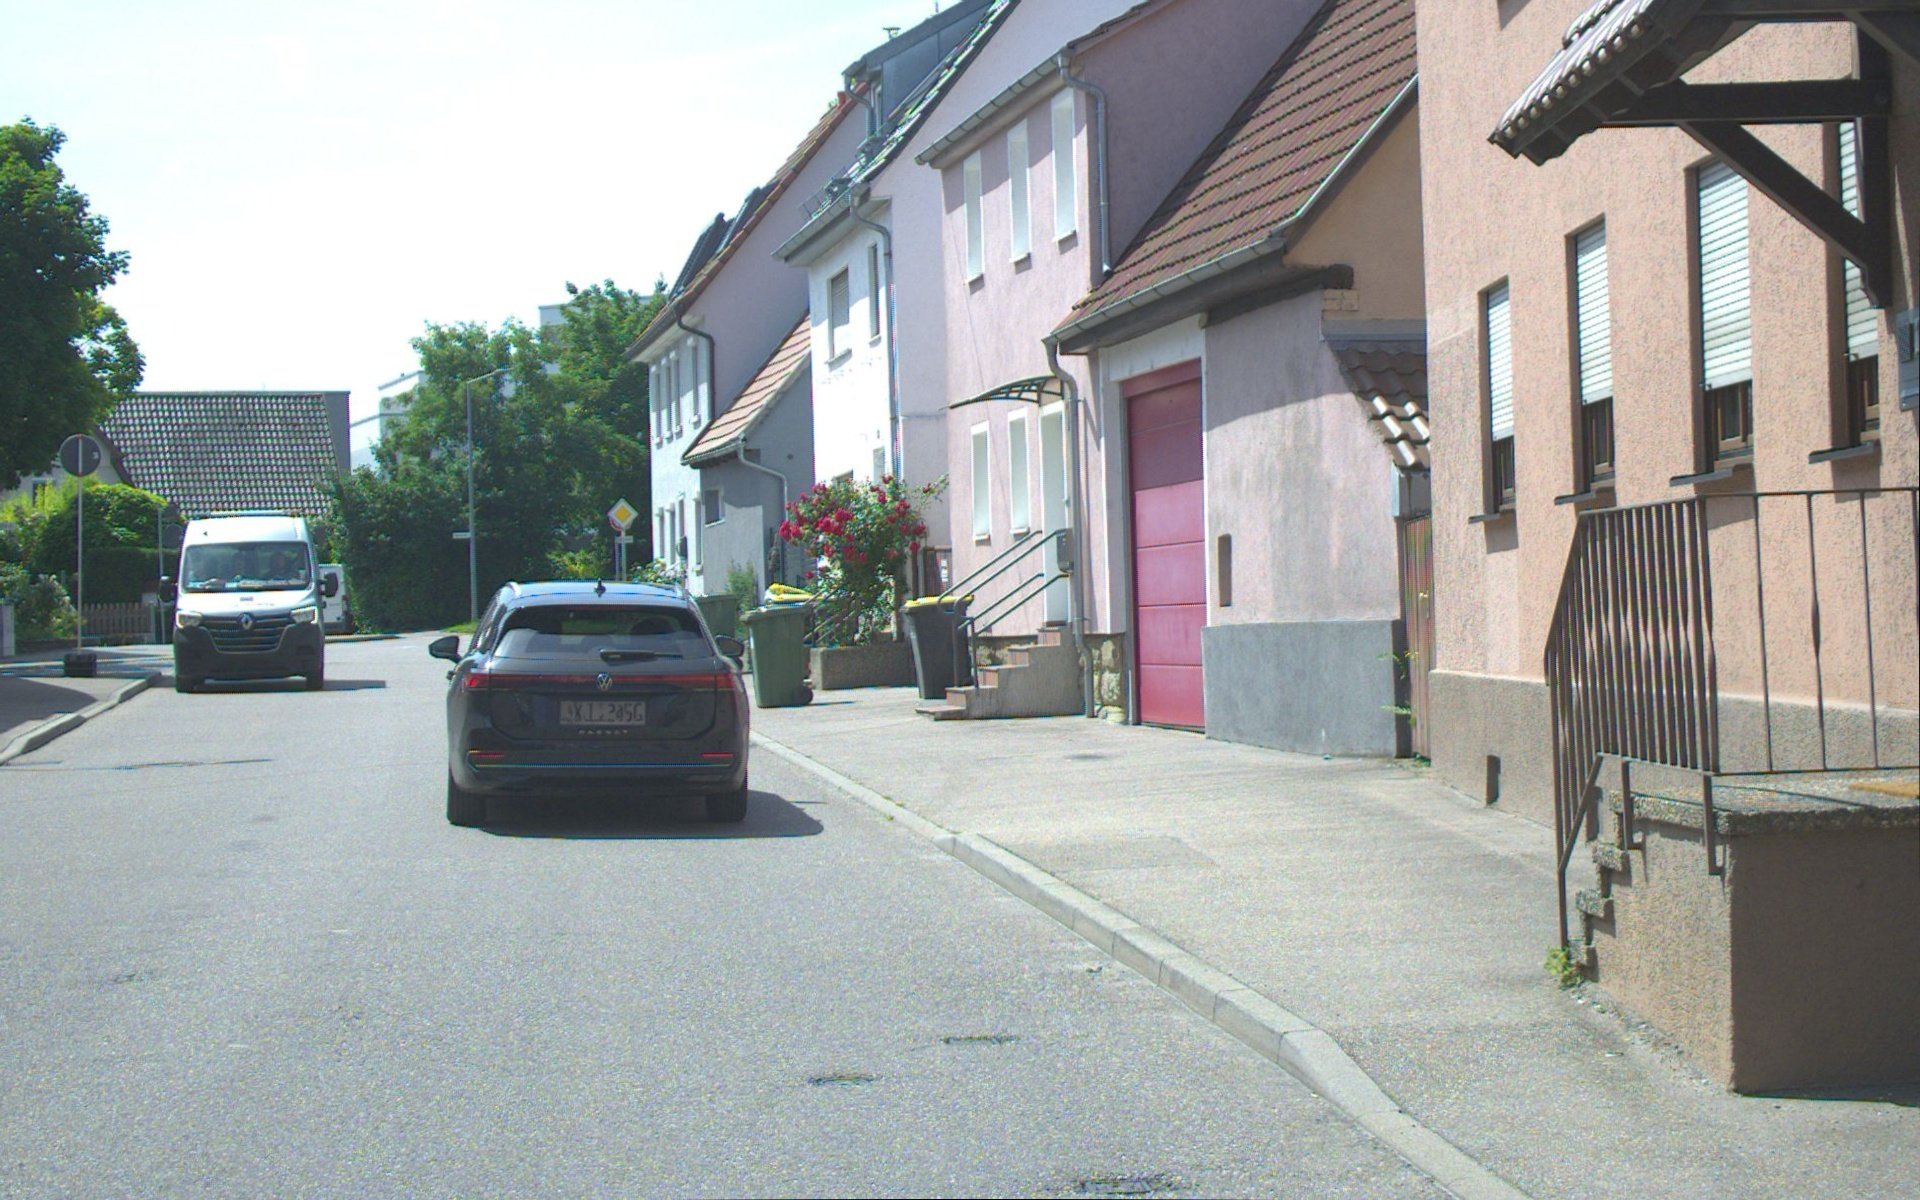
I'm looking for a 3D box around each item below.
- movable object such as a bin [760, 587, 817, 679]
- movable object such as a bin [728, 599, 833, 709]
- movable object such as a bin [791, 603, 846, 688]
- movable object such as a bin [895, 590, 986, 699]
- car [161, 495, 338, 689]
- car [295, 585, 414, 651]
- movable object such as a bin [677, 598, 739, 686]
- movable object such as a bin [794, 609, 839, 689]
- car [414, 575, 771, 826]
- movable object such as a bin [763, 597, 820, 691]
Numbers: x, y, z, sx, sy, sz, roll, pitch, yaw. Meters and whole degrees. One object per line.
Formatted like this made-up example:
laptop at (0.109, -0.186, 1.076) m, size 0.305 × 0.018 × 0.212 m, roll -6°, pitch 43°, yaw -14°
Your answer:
movable object such as a bin at (-2.266, 0.426, 45.344) m, size 0.664 × 1.190 × 0.660 m, roll -1°, pitch 0°, yaw -10°
movable object such as a bin at (-1.911, 0.563, 36.477) m, size 0.875 × 1.071 × 0.873 m, roll -5°, pitch 1°, yaw -14°
movable object such as a bin at (-1.746, 0.557, 42.354) m, size 0.592 × 1.036 × 0.531 m, roll -1°, pitch 0°, yaw -10°
movable object such as a bin at (-0.209, 0.453, 35.516) m, size 0.678 × 1.046 × 0.835 m, roll -5°, pitch 1°, yaw -14°
car at (-10.091, -0.123, 49.188) m, size 2.114 × 2.554 × 5.828 m, roll -2°, pitch 0°, yaw -9°
car at (-19.258, 0.541, 109.642) m, size 2.128 × 2.007 × 4.935 m, roll -1°, pitch 0°, yaw 10°
movable object such as a bin at (-3.344, 0.555, 45.552) m, size 0.678 × 1.151 × 0.820 m, roll 0°, pitch 0°, yaw -14°
movable object such as a bin at (-1.806, 0.610, 43.302) m, size 0.503 × 0.990 × 0.442 m, roll -1°, pitch 0°, yaw -10°
car at (-2.451, 0.584, 21.909) m, size 1.841 × 1.415 × 4.683 m, roll 0°, pitch 0°, yaw -11°
movable object such as a bin at (-2.189, 0.567, 44.637) m, size 0.664 × 1.190 × 0.588 m, roll -1°, pitch 0°, yaw -10°
